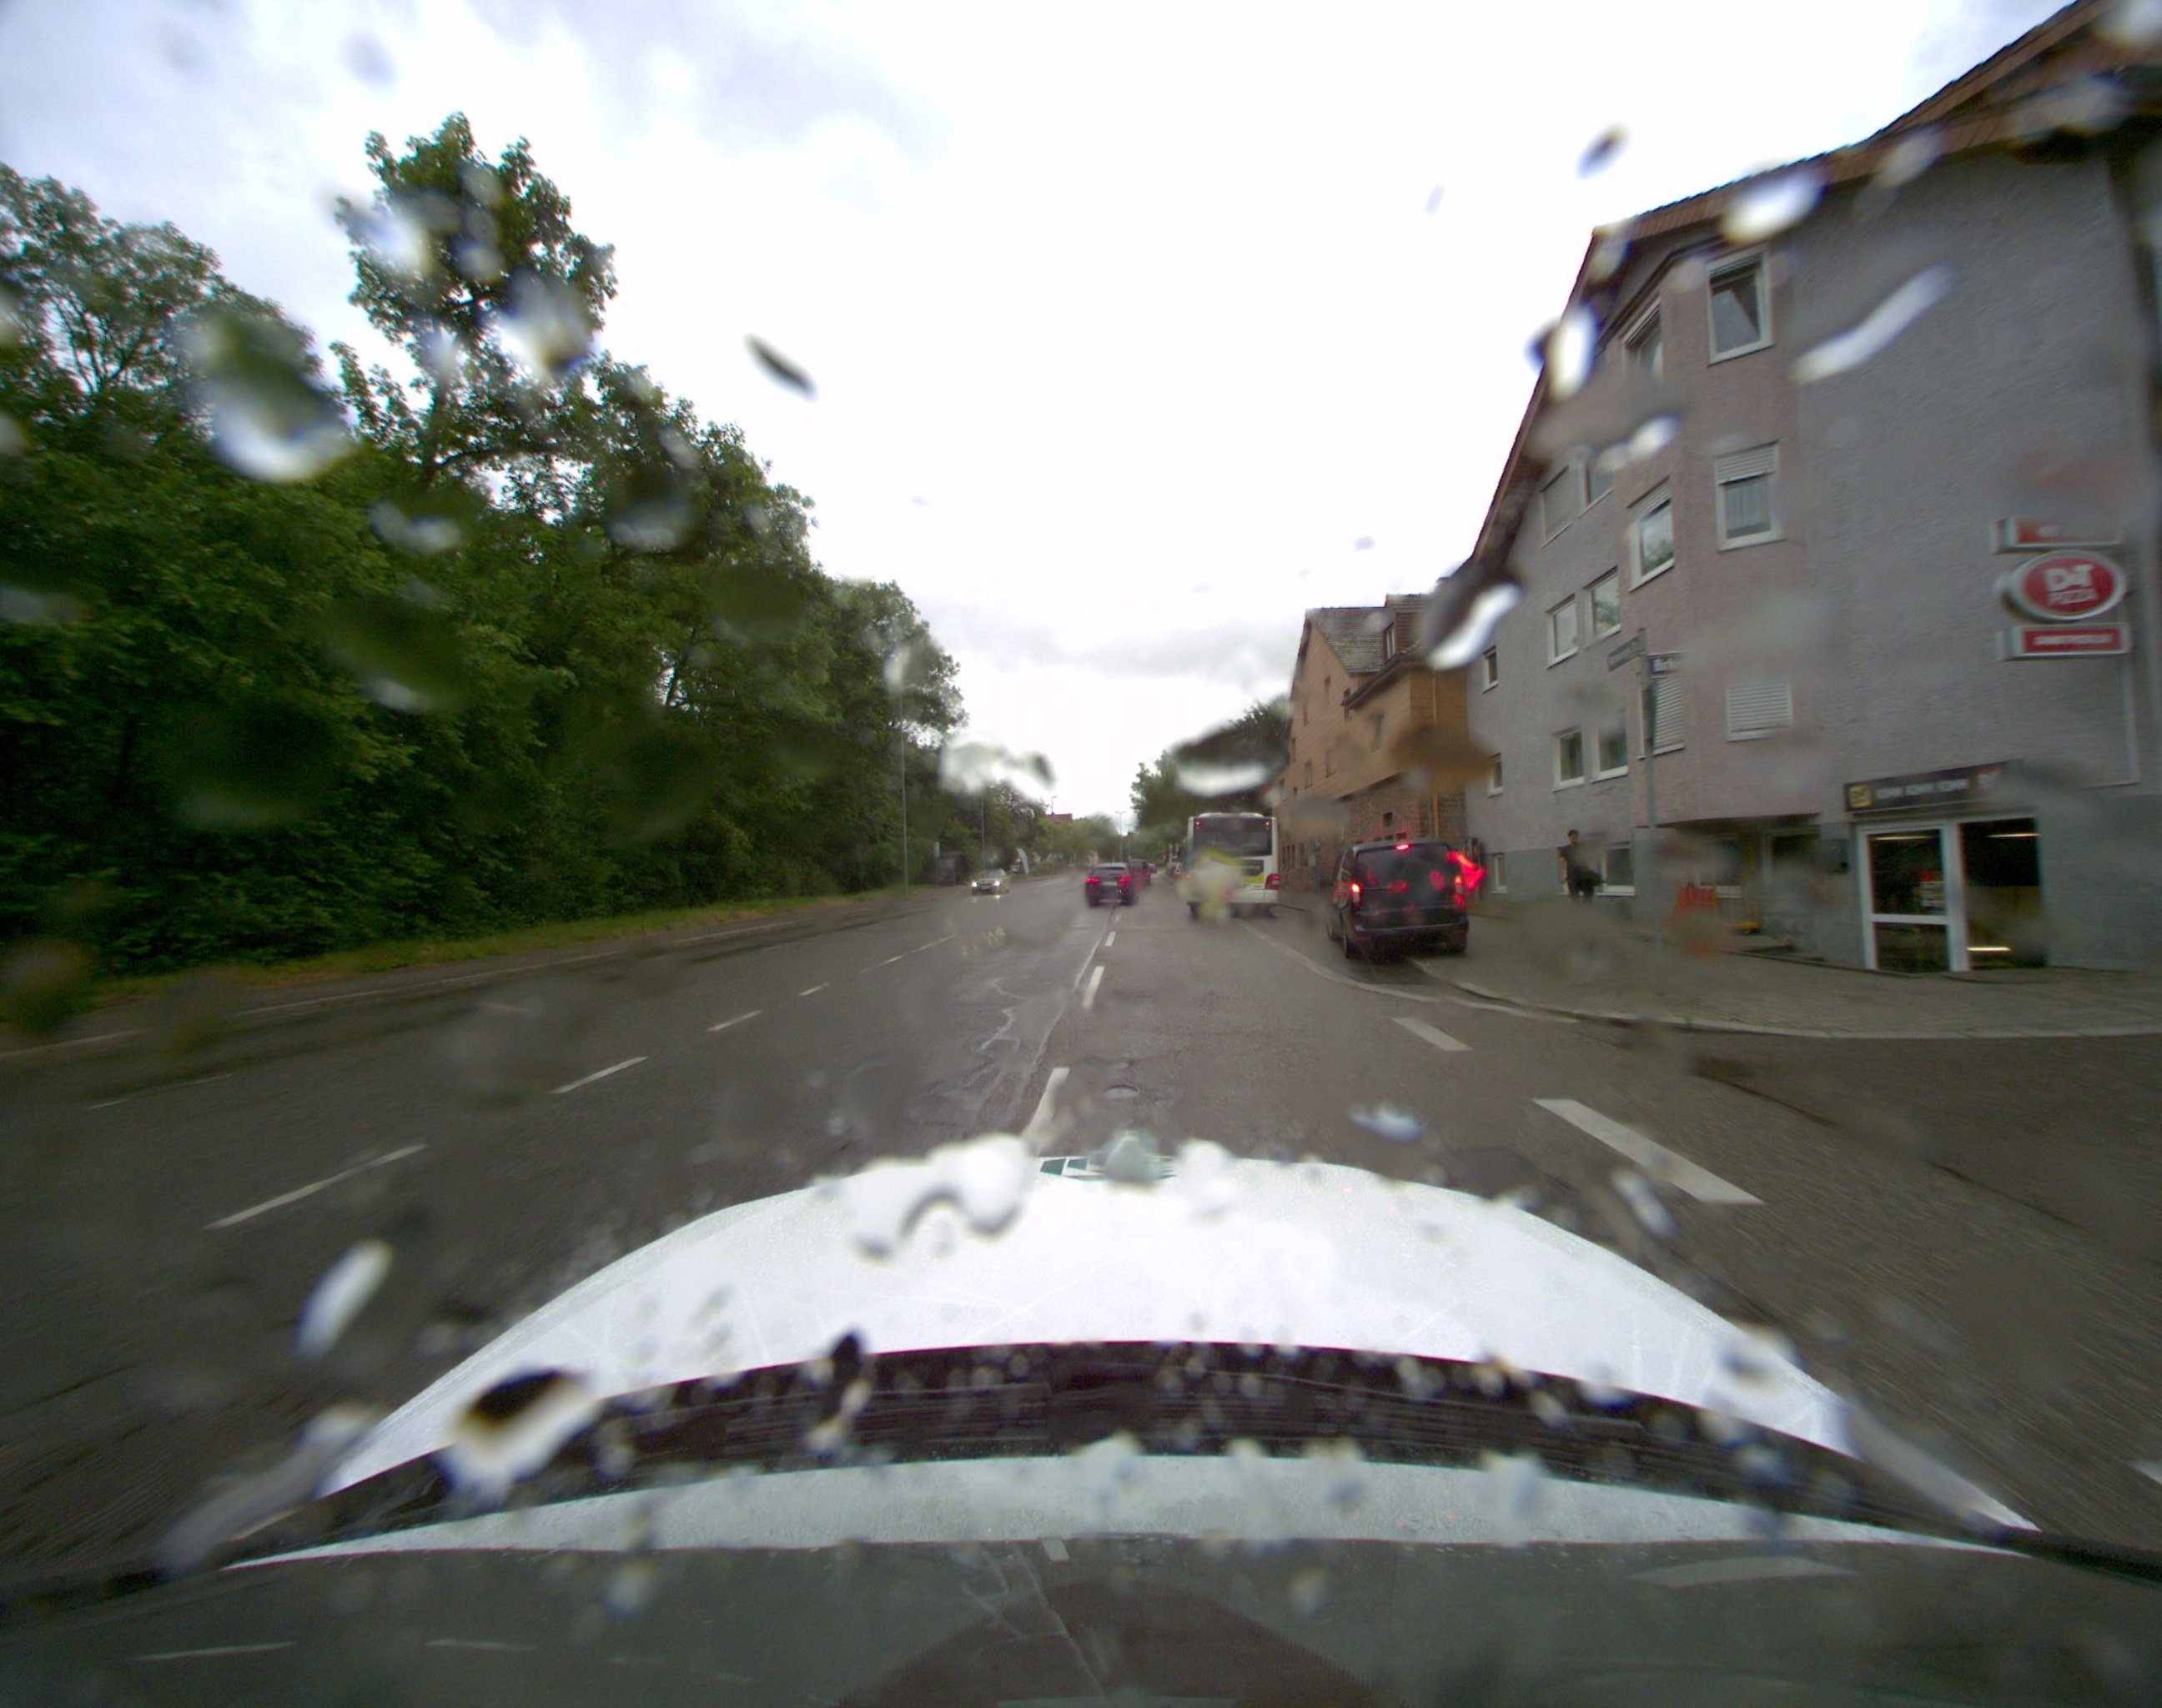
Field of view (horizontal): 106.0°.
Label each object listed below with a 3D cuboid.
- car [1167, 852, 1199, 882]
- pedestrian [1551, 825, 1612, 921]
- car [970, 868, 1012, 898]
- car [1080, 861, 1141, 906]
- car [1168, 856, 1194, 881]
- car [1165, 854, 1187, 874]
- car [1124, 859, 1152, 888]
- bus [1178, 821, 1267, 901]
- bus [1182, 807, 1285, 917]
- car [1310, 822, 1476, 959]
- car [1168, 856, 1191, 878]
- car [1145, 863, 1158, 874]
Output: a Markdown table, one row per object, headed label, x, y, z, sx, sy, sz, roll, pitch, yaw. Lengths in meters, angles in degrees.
| label | x | y | z | sx | sy | sz | roll | pitch | yaw |
| --- | --- | --- | --- | --- | --- | --- | --- | --- | --- |
| car | 7.449 | 0.895 | 59.706 | 1.985 | 2.013 | 4.003 | -1 | 1 | 3 |
| pedestrian | 9.517 | 0.349 | 15.512 | 0.687 | 1.754 | 0.670 | -3 | -1 | 3 |
| car | -5.216 | 1.682 | 47.839 | 1.762 | 1.533 | 4.003 | -2 | 0 | 3 |
| car | 1.181 | 1.045 | 30.368 | 1.984 | 1.453 | 4.006 | 1 | 0 | 6 |
| car | 8.872 | 1.281 | 72.418 | 1.985 | 2.013 | 4.003 | -1 | 1 | 3 |
| car | 10.115 | 1.040 | 86.885 | 1.985 | 2.013 | 4.003 | -1 | 1 | 3 |
| car | 4.283 | 1.412 | 60.952 | 1.984 | 2.013 | 4.005 | -1 | 0 | 4 |
| bus | 5.789 | 0.236 | 34.809 | 2.611 | 2.847 | 9.804 | -2 | 0 | 4 |
| bus | 4.780 | 0.195 | 25.988 | 2.607 | 2.847 | 8.311 | -2 | 0 | 10 |
| car | 5.238 | 0.575 | 14.333 | 1.914 | 1.892 | 4.777 | -5 | -2 | 12 |
| car | 9.908 | 1.291 | 82.397 | 1.985 | 2.013 | 4.003 | -1 | 1 | 3 |
| car | 10.776 | 2.274 | 124.735 | 1.858 | 1.519 | 4.003 | -1 | 1 | 3 |
